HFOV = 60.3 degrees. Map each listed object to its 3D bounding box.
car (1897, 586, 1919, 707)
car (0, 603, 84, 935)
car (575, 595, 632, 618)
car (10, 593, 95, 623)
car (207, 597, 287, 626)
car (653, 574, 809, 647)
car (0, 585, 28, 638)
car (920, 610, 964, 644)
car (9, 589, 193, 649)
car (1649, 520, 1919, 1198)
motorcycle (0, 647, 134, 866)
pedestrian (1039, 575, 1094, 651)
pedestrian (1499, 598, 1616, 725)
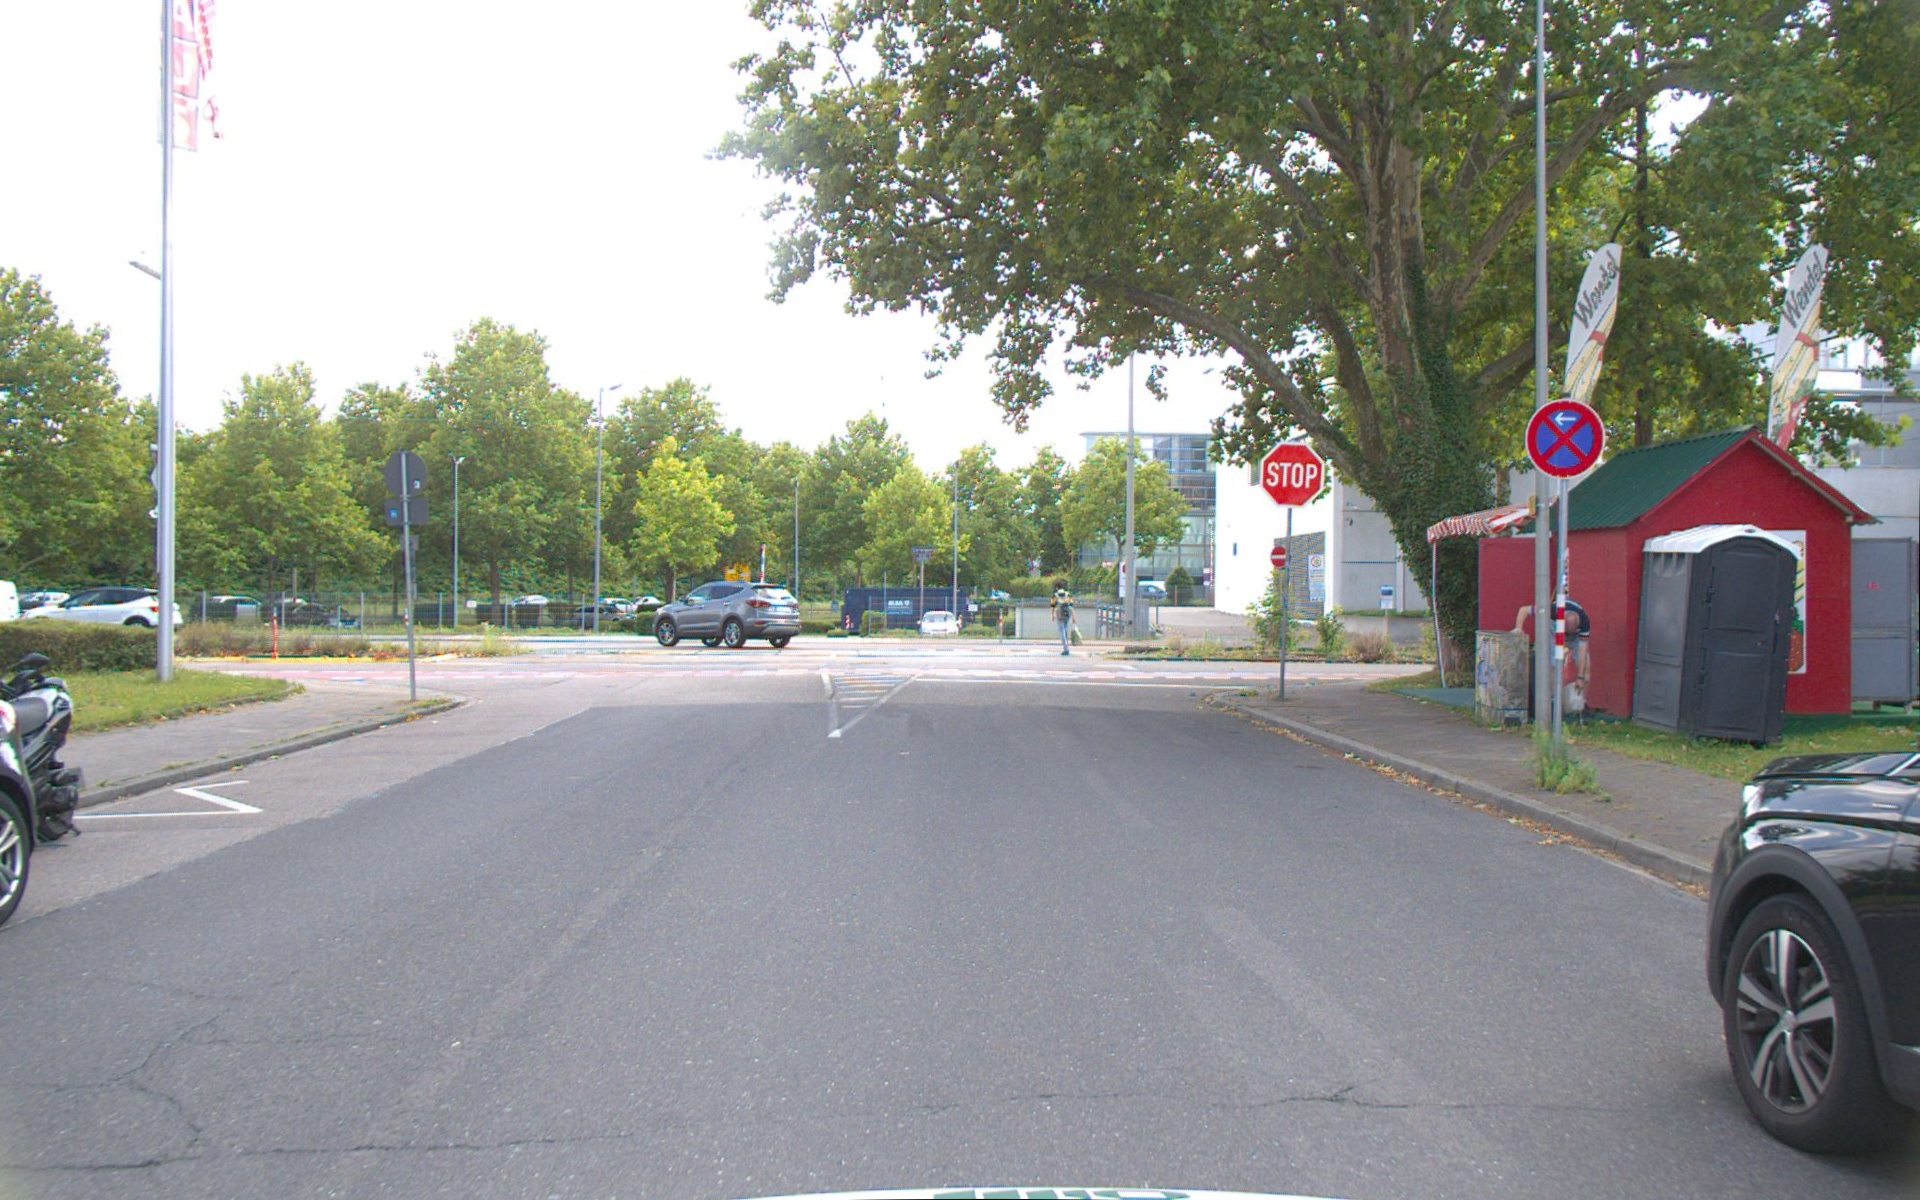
[{"bbox_3d":[13.005,0.601,19.537,1.703,1.538,4.001,0,0,2],"label":"car"},{"bbox_3d":[-5.054,0.790,5.756,1.675,1.444,4.331,-2,0,0],"label":"car"},{"bbox_3d":[-27.345,0.500,127.105,1.879,1.751,4.291,1,0,31],"label":"car"},{"bbox_3d":[-53.276,0.455,97.197,1.879,1.691,3.991,1,0,31],"label":"car"},{"bbox_3d":[-43.910,0.718,101.925,1.879,1.751,4.291,1,0,31],"label":"car"},{"bbox_3d":[-6.158,0.238,44.195,4.202,1.847,1.955,1,1,44],"label":"car"},{"bbox_3d":[-42.645,0.472,70.094,5.183,2.250,1.796,0,0,-5],"label":"car"},{"bbox_3d":[-0.812,1.194,74.328,1.891,1.427,4.080,0,0,-1],"label":"car"},{"bbox_3d":[-24.056,0.520,46.425,4.137,1.607,1.922,0,0,-4],"label":"car"},{"bbox_3d":[3.357,0.697,3.296,1.772,1.694,4.637,3,0,-3],"label":"car"},{"bbox_3d":[-5.649,0.903,9.780,0.608,1.158,1.802,-3,0,-1],"label":"motorcycle"},{"bbox_3d":[2.653,0.323,41.325,0.985,1.881,1.222,1,0,-20],"label":"pedestrian"},{"bbox_3d":[6.484,0.652,18.001,0.992,1.337,0.965,1,0,6],"label":"pedestrian"}]
